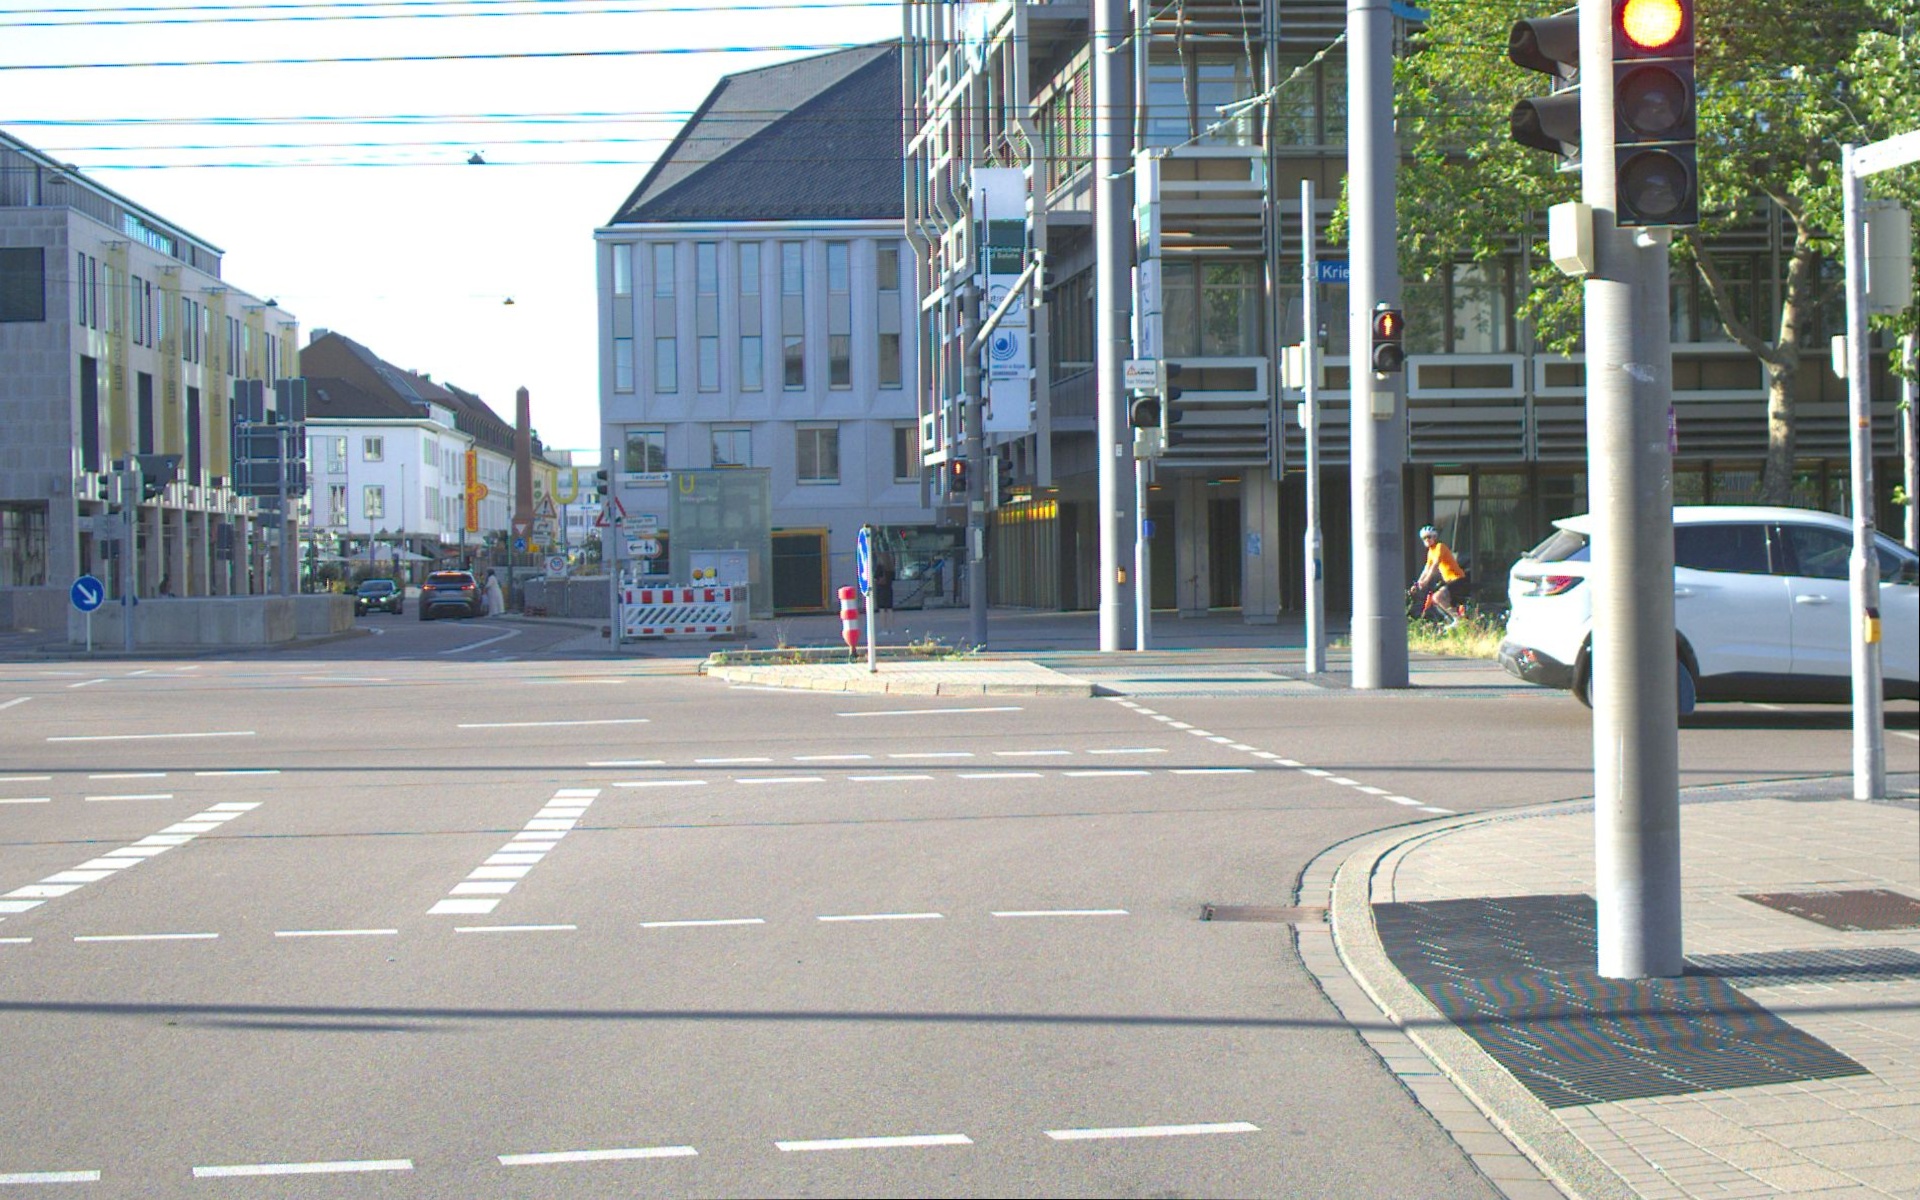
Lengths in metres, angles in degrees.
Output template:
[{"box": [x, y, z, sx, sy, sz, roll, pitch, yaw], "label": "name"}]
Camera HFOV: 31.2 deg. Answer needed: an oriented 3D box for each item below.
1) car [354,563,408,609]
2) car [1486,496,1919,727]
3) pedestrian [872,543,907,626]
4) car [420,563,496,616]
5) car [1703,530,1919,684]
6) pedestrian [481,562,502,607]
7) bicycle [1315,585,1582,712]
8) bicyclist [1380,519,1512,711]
[{"box": [-23.612, -0.588, 140.231, 1.756, 1.777, 4.001, -1, 1, -4], "label": "car"}, {"box": [6.244, 0.054, 25.954, 4.392, 1.654, 2.000, 0, 2, 6], "label": "car"}, {"box": [-1.431, -0.317, 69.633, 0.663, 1.652, 0.755, -1, 1, -3], "label": "pedestrian"}, {"box": [-15.811, -0.347, 108.420, 2.199, 1.601, 4.327, -1, 1, -6], "label": "car"}, {"box": [12.284, 0.093, 46.406, 3.986, 2.007, 2.000, 1, 0, -3], "label": "car"}, {"box": [-14.780, -0.480, 108.446, 0.609, 1.406, 0.570, -1, 1, -6], "label": "pedestrian"}, {"box": [6.689, 0.654, 47.143, 3.490, 1.653, 0.932, -1, 1, -9], "label": "bicycle"}, {"box": [6.658, 0.195, 47.137, 1.567, 2.571, 0.932, -1, 1, -9], "label": "bicyclist"}]
